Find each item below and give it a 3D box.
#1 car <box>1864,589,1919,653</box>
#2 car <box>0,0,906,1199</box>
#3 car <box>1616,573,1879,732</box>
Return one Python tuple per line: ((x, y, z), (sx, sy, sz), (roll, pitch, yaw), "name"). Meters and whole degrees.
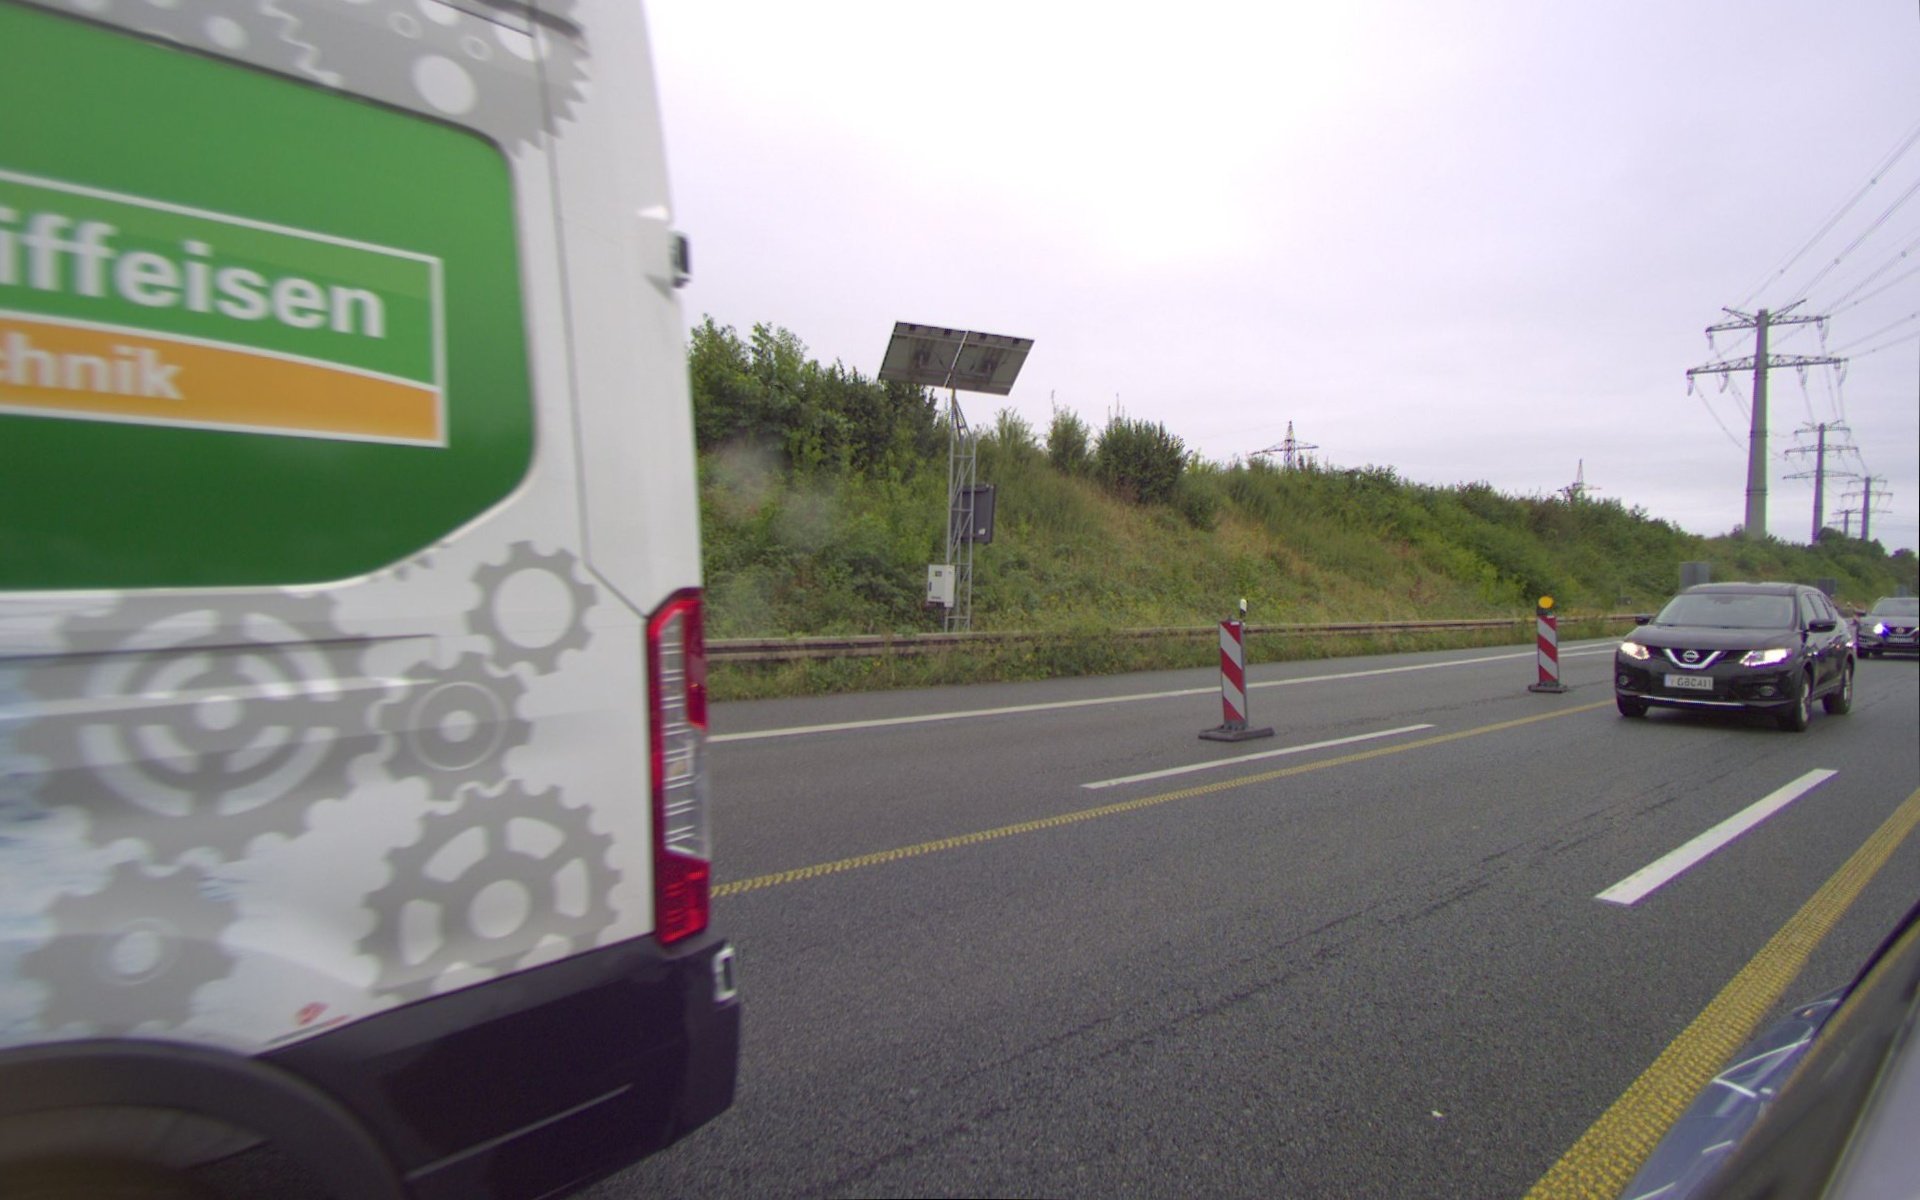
((24.596, 0.504, 25.874), (4.079, 1.552, 1.802), (0, 1, -42), "car")
((-2.877, -0.015, 0.867), (5.657, 2.817, 1.997), (0, 1, -42), "car")
((9.907, 0.536, 12.620), (4.203, 1.679, 1.688), (0, 1, -39), "car")
